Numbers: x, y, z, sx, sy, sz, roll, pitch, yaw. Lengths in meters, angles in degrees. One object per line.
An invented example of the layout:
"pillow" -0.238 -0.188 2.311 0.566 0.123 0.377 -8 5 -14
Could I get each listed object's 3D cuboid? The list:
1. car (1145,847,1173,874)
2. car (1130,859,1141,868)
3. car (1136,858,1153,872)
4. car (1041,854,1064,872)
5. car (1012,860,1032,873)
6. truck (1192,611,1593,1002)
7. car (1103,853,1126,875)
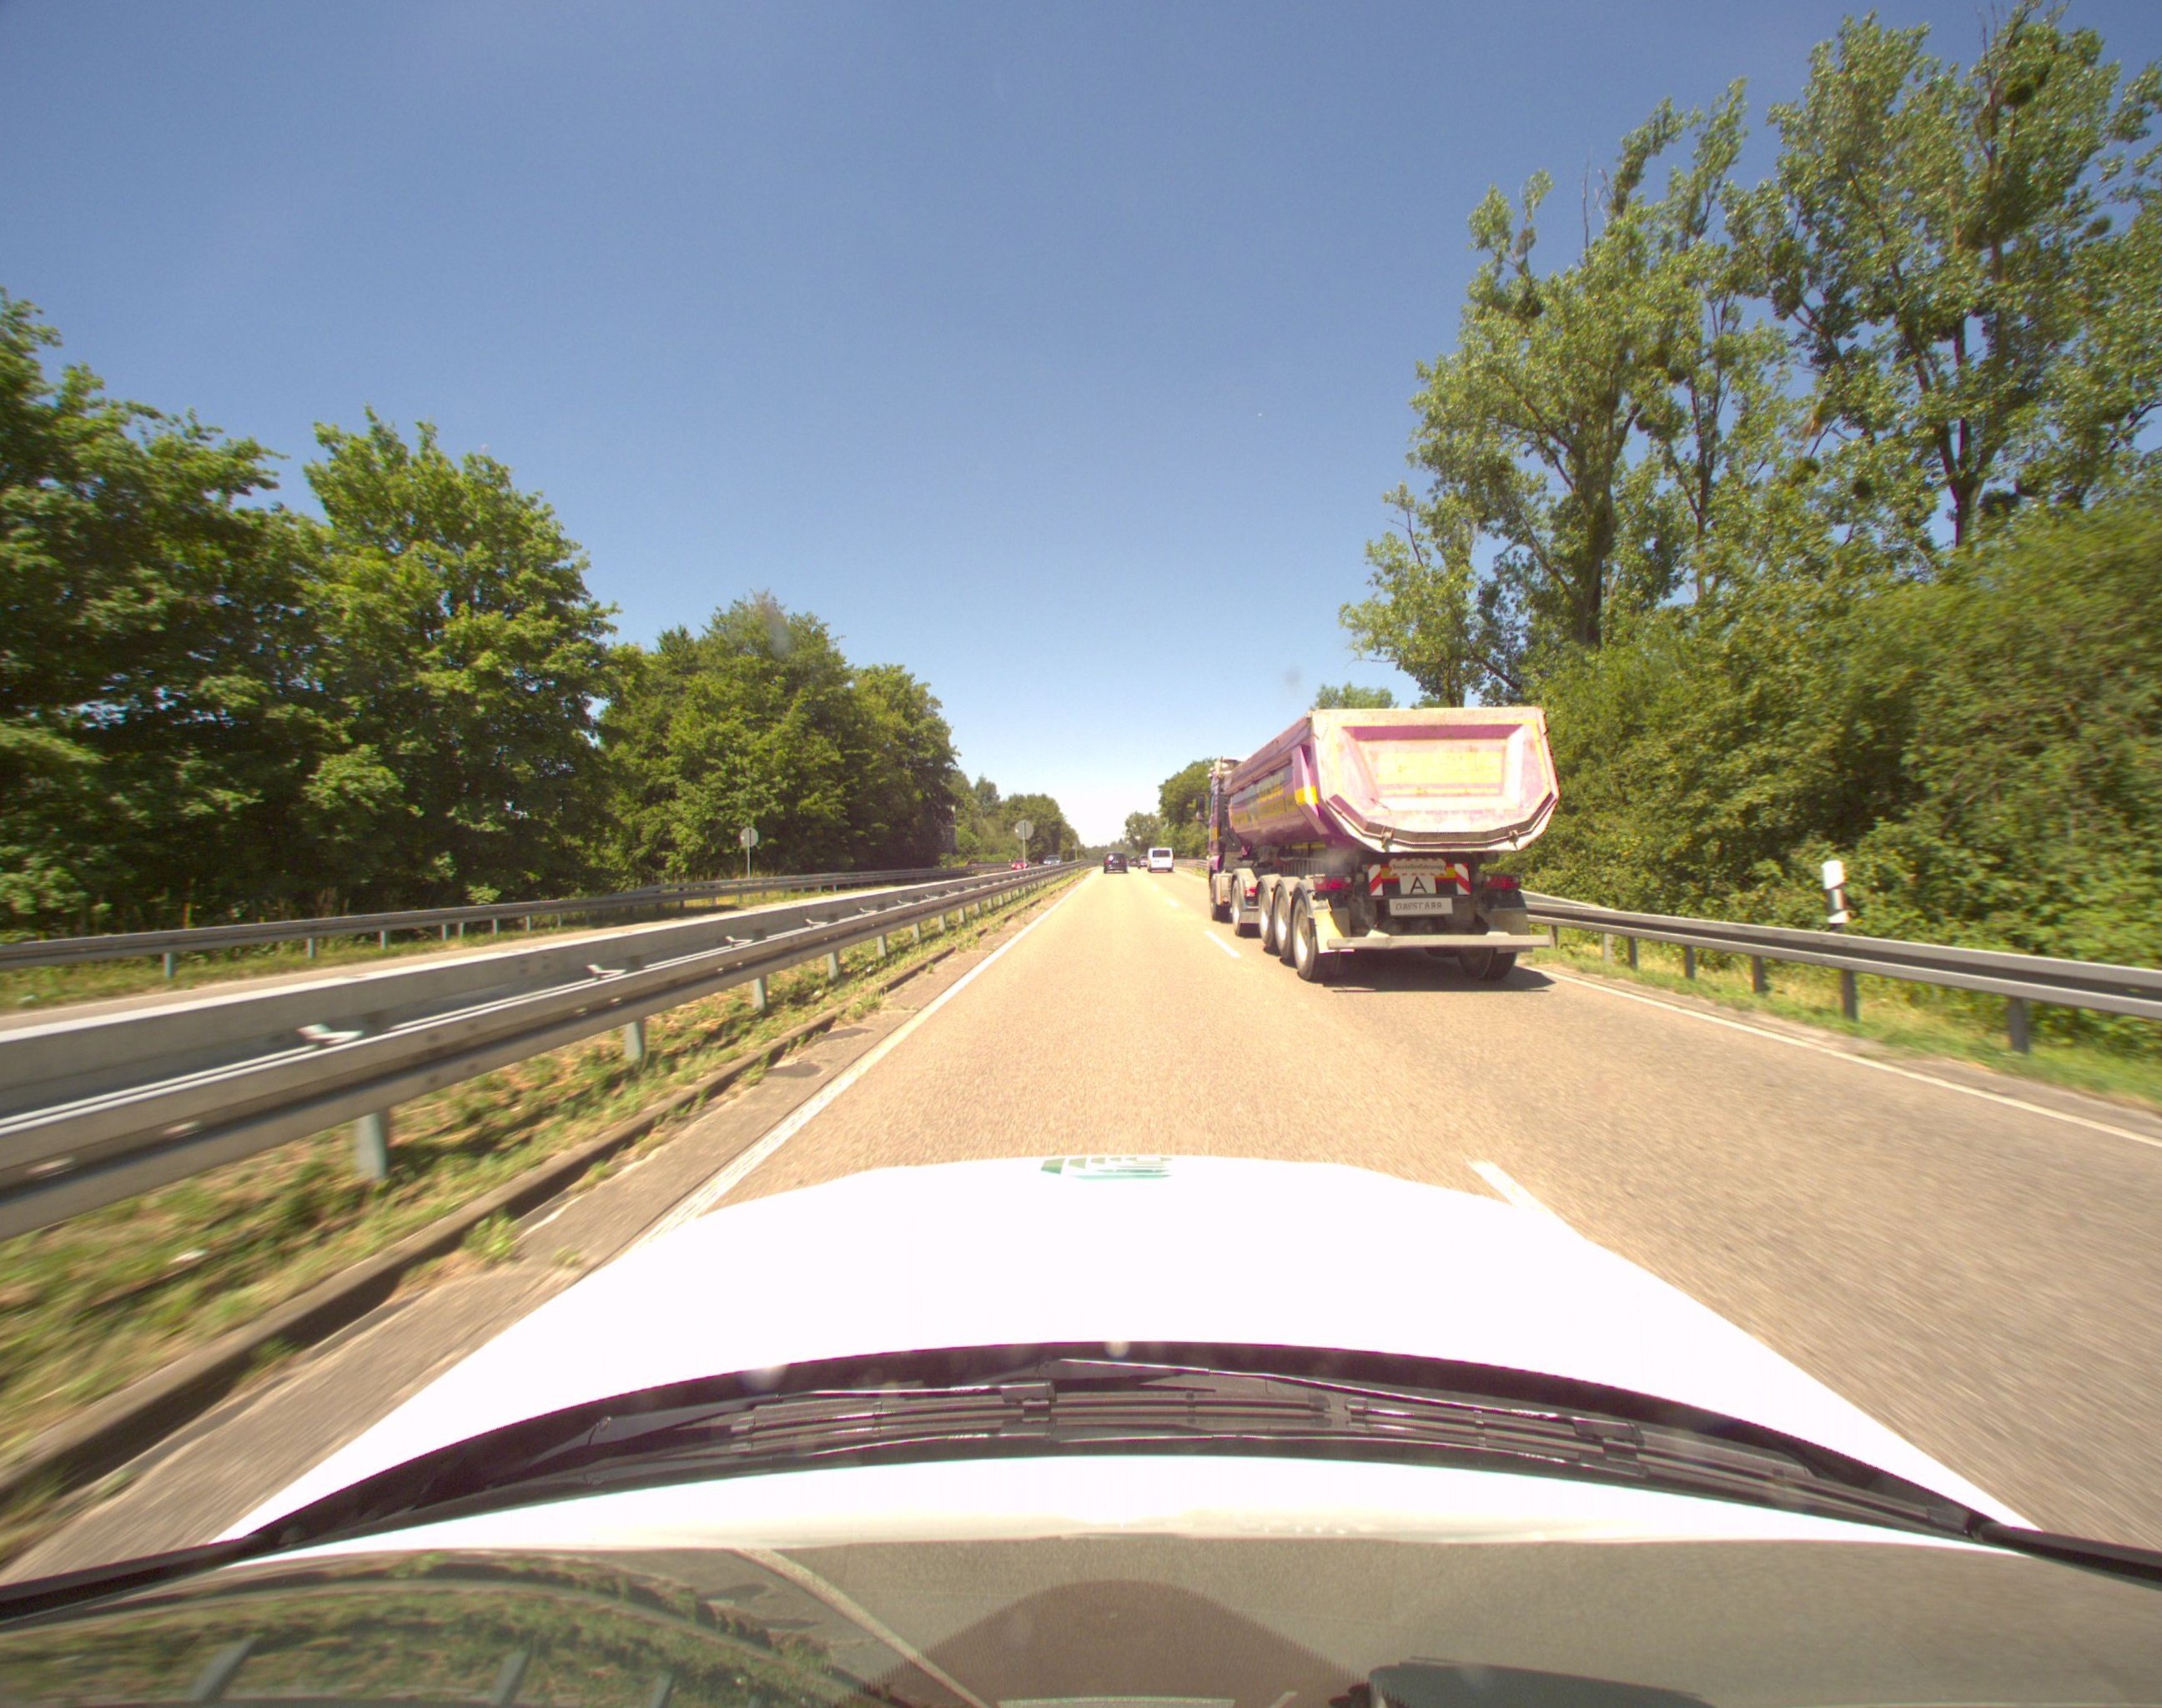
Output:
"car" 6.432 0.537 67.603 1.987 2.077 4.000 -2 0 1
"car" 9.505 1.675 141.563 1.598 1.420 3.522 -2 0 0
"car" 6.919 1.154 88.887 1.598 1.420 3.522 -2 0 0
"car" -3.119 0.958 89.707 1.985 1.794 4.752 -2 0 3
"car" -6.611 1.389 91.440 1.790 1.391 4.002 -2 0 2
"truck" 3.970 -0.460 14.395 2.710 3.930 12.374 0 0 2
"car" 2.690 0.831 66.648 1.851 1.671 4.000 0 -2 1
